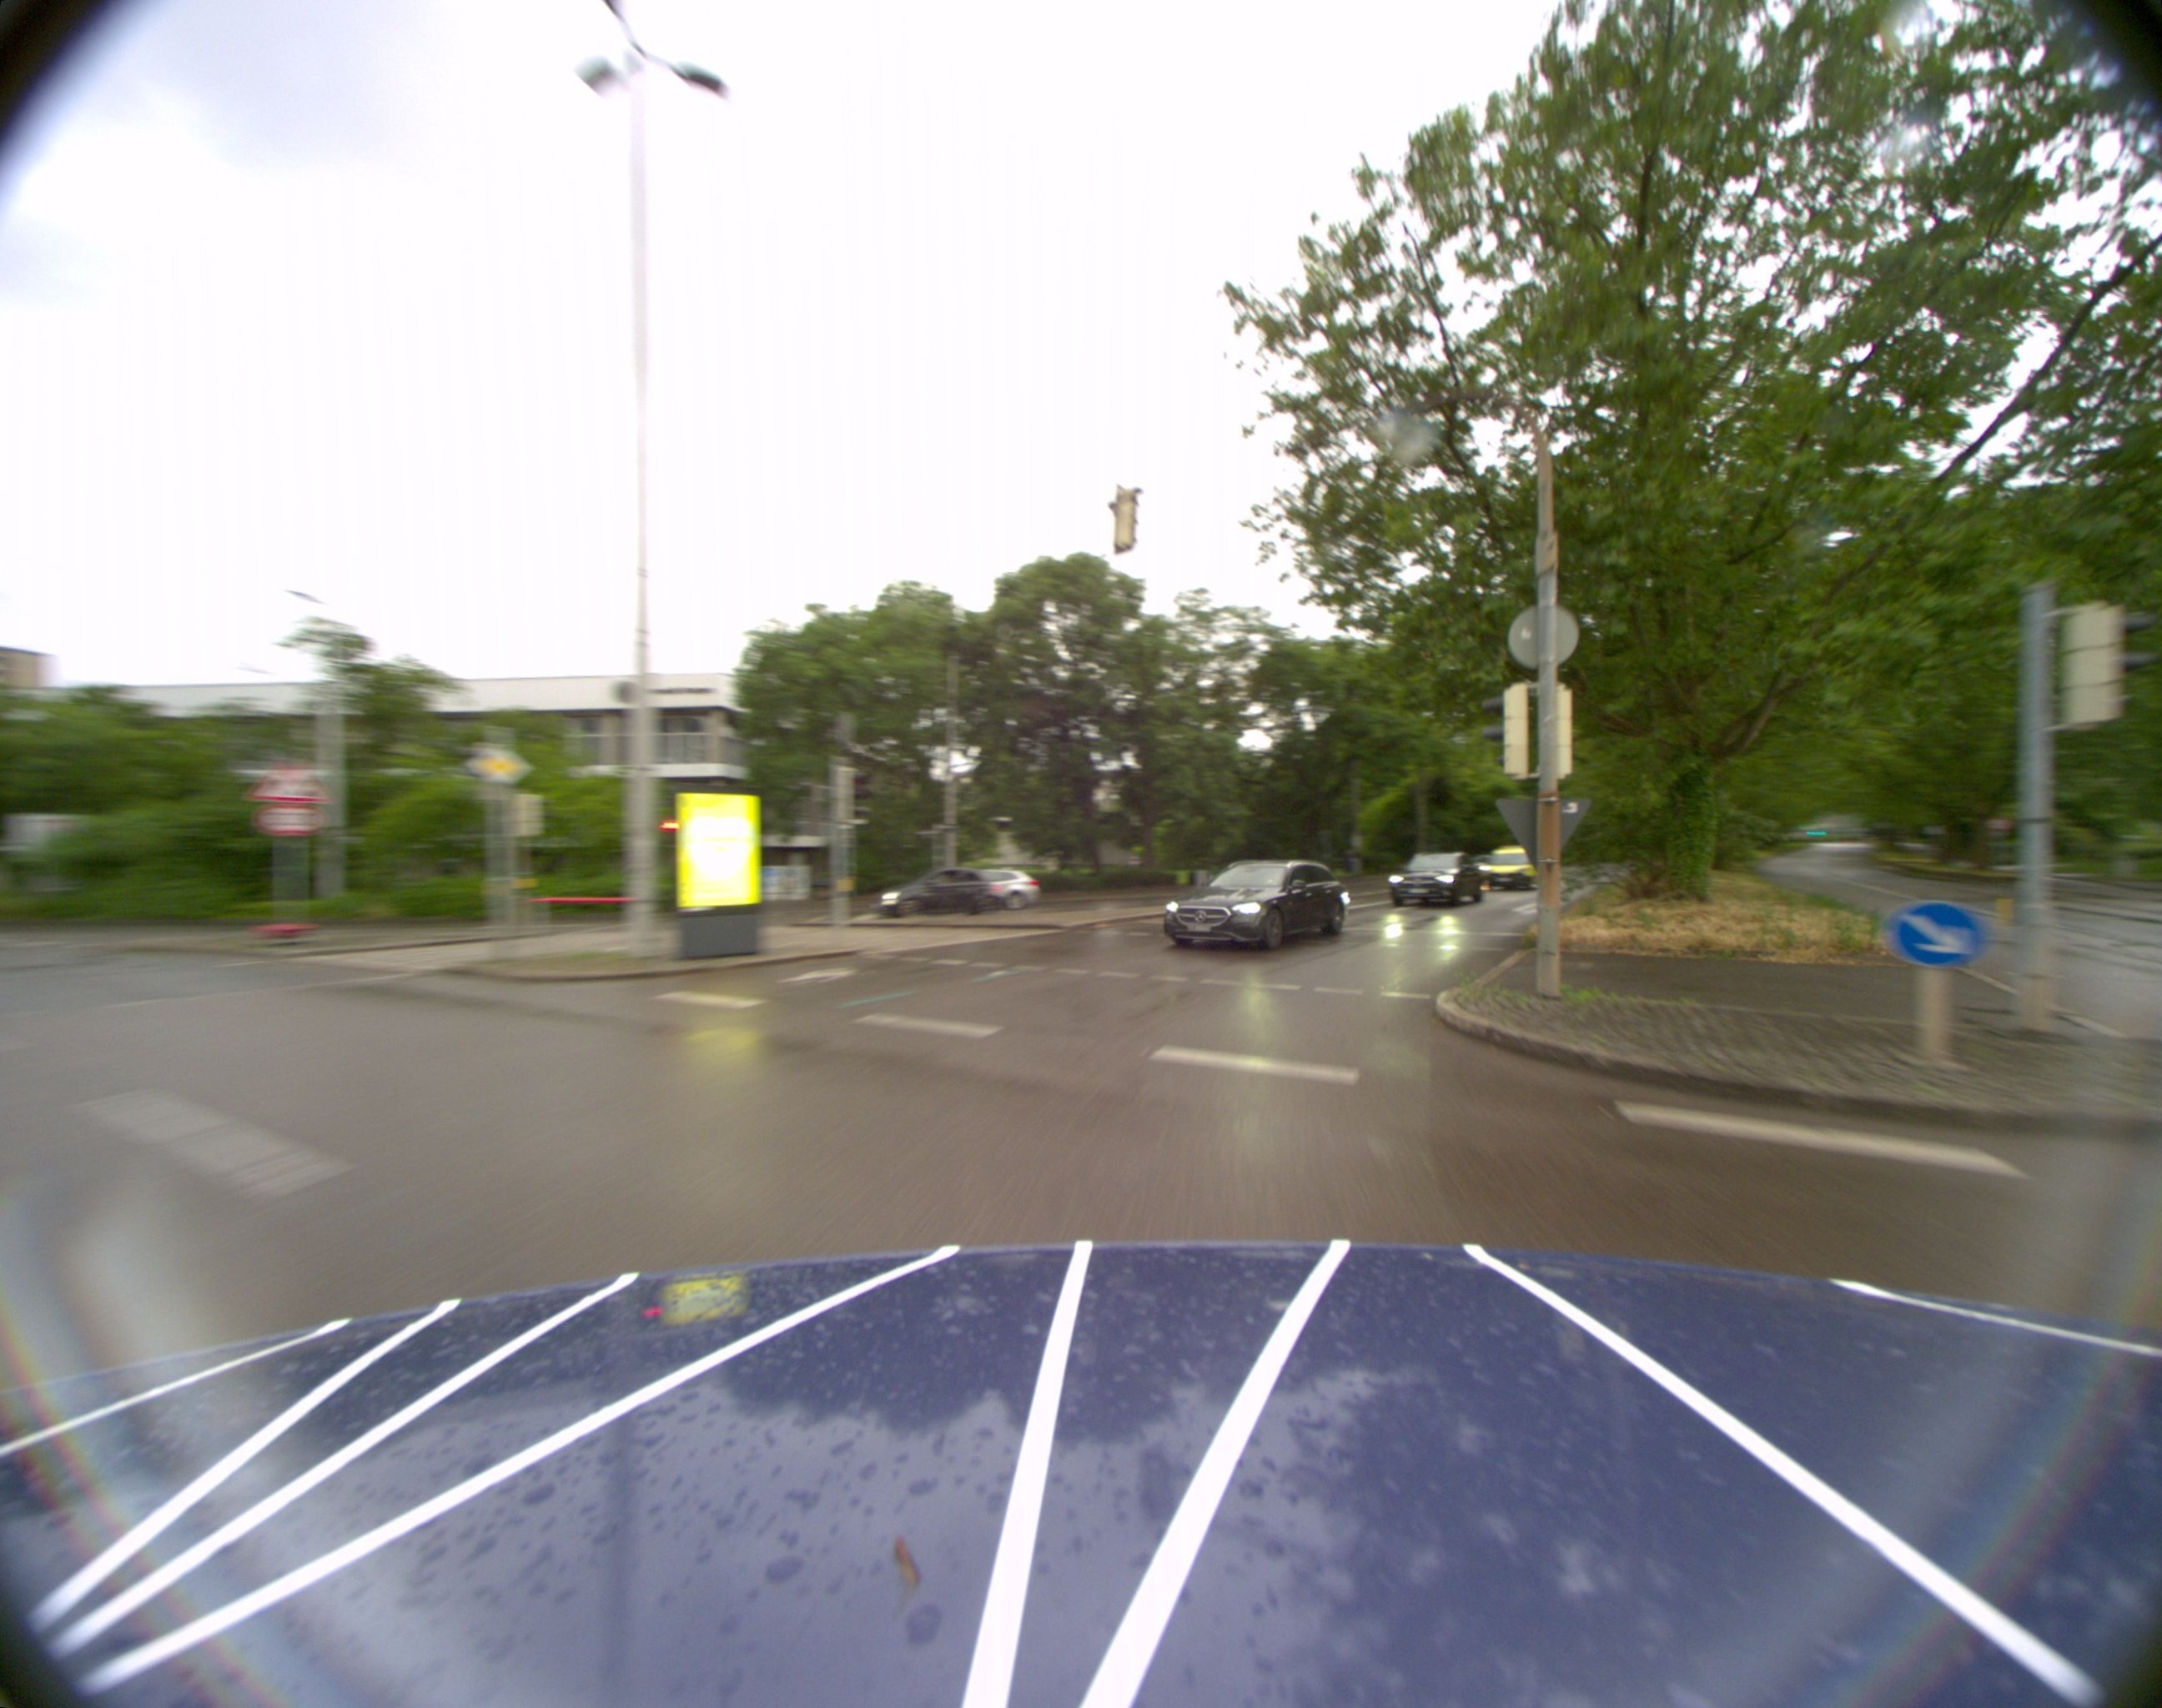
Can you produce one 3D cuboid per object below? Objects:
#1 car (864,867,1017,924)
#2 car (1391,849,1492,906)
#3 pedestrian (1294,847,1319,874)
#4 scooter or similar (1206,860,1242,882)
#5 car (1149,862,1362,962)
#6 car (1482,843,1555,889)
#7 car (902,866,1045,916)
[{"bbox_3d":[-4.076,1.140,21.981,4.005,1.441,1.864,-1,0,-25],"label":"car"},{"bbox_3d":[11.439,0.679,23.929,1.830,1.598,4.586,-2,-1,38],"label":"car"},{"bbox_3d":[14.067,0.402,47.355,1.058,1.597,1.070,-3,1,-10],"label":"pedestrian"},{"bbox_3d":[7.235,0.849,38.385,1.894,1.095,0.556,0,3,-30],"label":"scooter or similar"},{"bbox_3d":[3.420,0.913,14.081,1.880,1.437,4.940,-1,0,38],"label":"car"},{"bbox_3d":[19.276,0.488,33.407,1.880,1.865,4.751,-3,-1,40],"label":"car"},{"bbox_3d":[-3.623,1.201,25.839,4.410,1.441,1.864,-1,0,-30],"label":"car"}]
